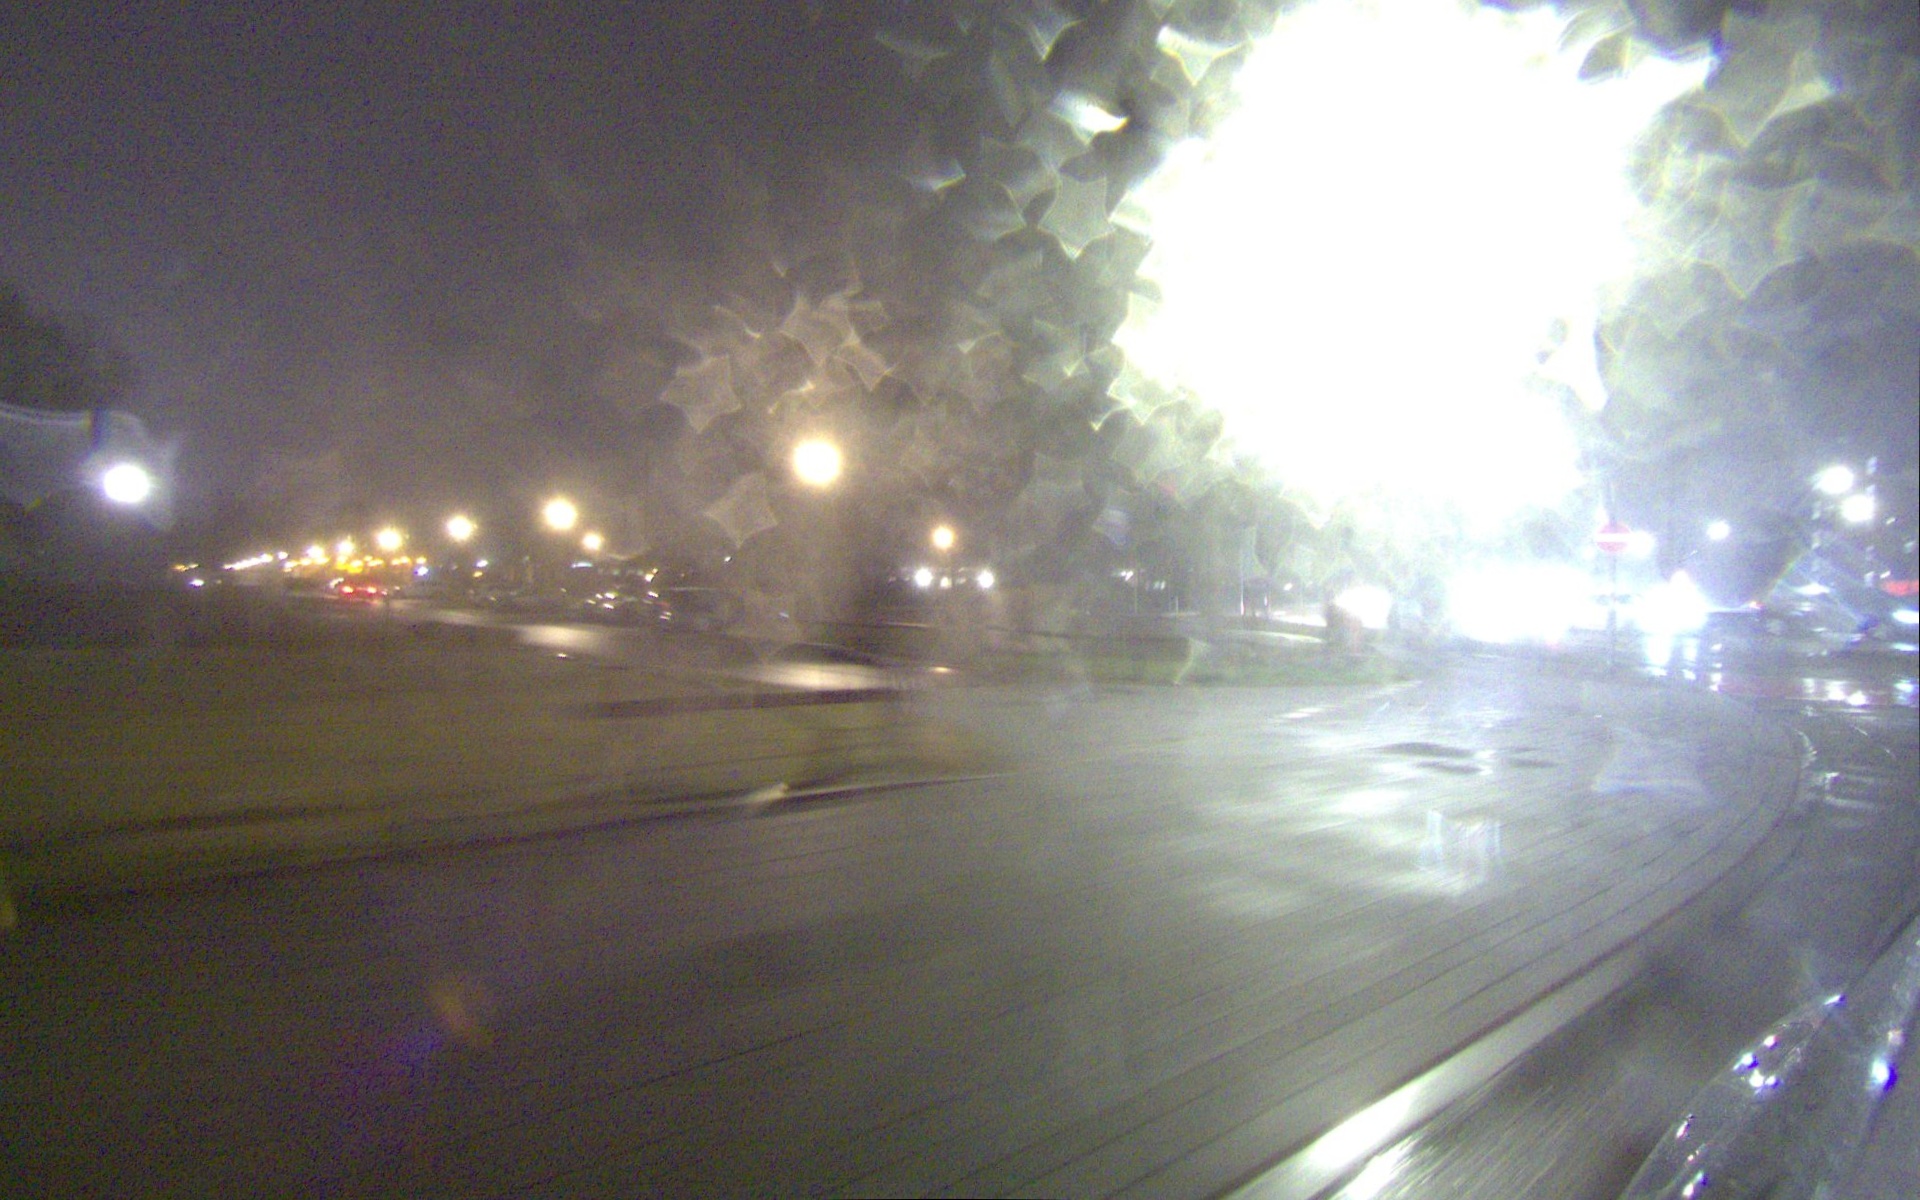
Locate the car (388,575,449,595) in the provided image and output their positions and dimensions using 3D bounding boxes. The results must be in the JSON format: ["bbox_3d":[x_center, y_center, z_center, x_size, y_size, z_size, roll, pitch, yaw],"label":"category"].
[{"bbox_3d":[-41.649,-1.184,77.838,3.925,1.504,2.000,-1,2,-36],"label":"car"}]

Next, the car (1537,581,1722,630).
[{"bbox_3d":[21.789,0.122,33.265,1.958,1.484,5.110,0,1,-13],"label":"car"}]

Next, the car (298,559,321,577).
[{"bbox_3d":[-77.483,-3.784,120.508,1.963,2.039,3.998,0,1,-37],"label":"car"}]

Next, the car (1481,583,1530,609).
[{"bbox_3d":[37.876,-0.293,70.253,1.993,1.693,4.121,1,1,43],"label":"car"}]

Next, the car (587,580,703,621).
[{"bbox_3d":[-12.751,-0.017,41.035,4.106,1.539,2.001,-1,2,-34],"label":"car"}]

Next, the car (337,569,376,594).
[{"bbox_3d":[-42.090,-1.303,70.586,1.963,1.694,3.999,-1,2,-36],"label":"car"}]

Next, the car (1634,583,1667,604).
[{"bbox_3d":[62.392,-0.643,91.440,1.992,1.776,3.941,2,3,41],"label":"car"}]

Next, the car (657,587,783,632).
[{"bbox_3d":[-8.157,0.282,34.619,3.950,1.465,1.485,0,1,-40],"label":"car"}]

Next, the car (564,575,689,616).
[{"bbox_3d":[-14.256,-0.221,43.312,4.722,1.656,2.000,-1,1,-34],"label":"car"}]

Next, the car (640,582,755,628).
[{"bbox_3d":[-9.565,0.163,36.955,3.812,1.587,1.489,0,1,-40],"label":"car"}]

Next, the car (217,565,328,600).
[{"bbox_3d":[-31.695,-0.815,46.727,4.110,1.517,1.999,-1,3,-39],"label":"car"}]

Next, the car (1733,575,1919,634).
[{"bbox_3d":[26.491,0.074,30.186,1.958,1.602,5.210,0,1,-21],"label":"car"}]

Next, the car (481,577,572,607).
[{"bbox_3d":[-23.236,-0.454,54.313,4.110,1.517,1.999,-1,3,-39],"label":"car"}]

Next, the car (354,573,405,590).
[{"bbox_3d":[-54.678,-1.767,95.339,3.927,1.504,1.999,-1,2,-38],"label":"car"}]

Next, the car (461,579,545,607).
[{"bbox_3d":[-26.370,-0.419,58.433,4.105,1.517,2.000,0,1,-34],"label":"car"}]

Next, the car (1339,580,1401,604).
[{"bbox_3d":[26.872,-0.536,66.269,3.921,1.470,1.770,-1,1,-31],"label":"car"}]
